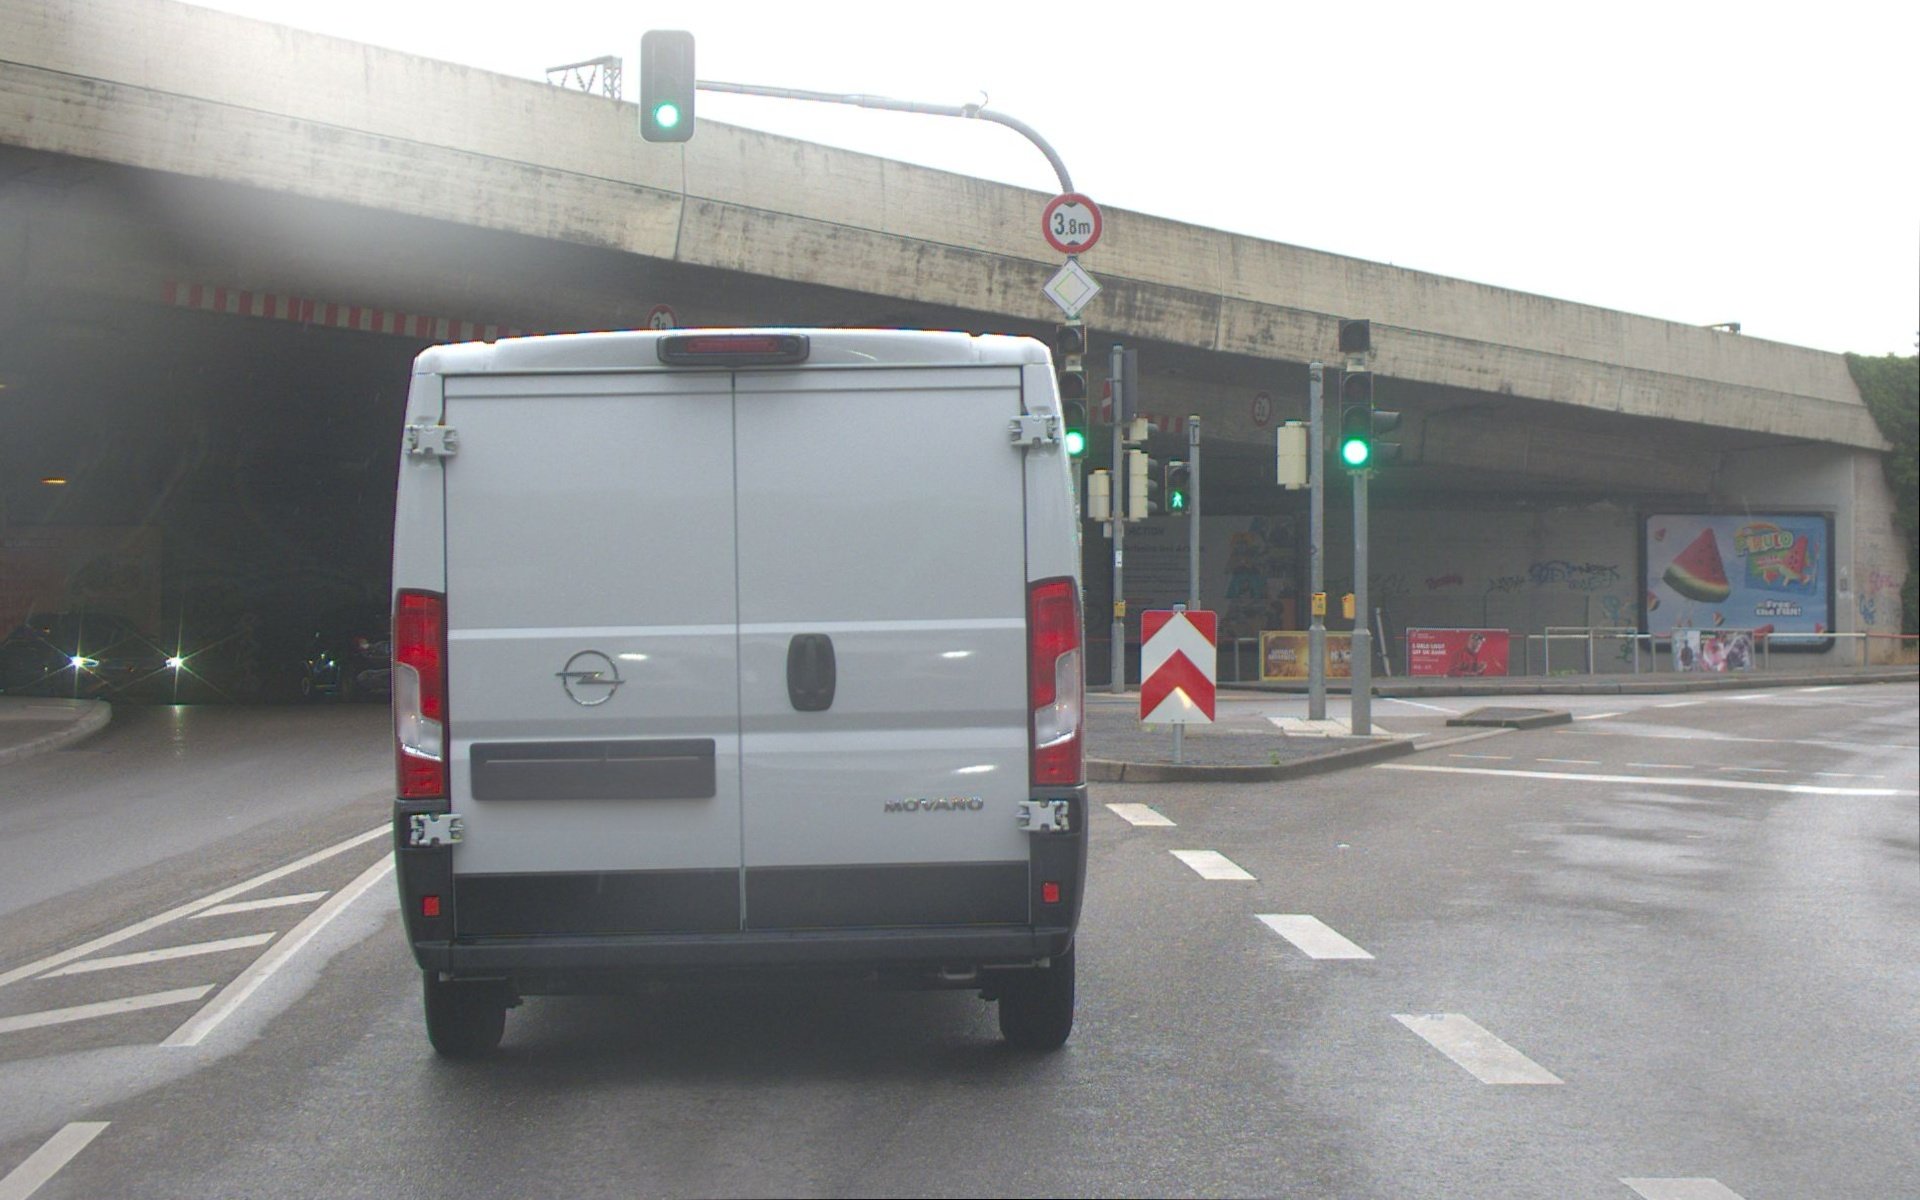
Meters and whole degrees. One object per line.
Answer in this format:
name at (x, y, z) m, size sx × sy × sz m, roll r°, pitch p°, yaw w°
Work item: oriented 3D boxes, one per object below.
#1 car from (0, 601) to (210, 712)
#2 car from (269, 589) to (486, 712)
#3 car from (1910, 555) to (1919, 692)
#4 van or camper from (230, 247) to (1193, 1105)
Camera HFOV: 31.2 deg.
car at (-13.136, 0.824, 52.090) m, size 1.993 × 1.525 × 4.500 m, roll 1°, pitch 1°, yaw -33°
car at (-8.809, 0.715, 51.746) m, size 1.993 × 1.744 × 4.000 m, roll 0°, pitch 0°, yaw -29°
car at (12.419, 0.264, 39.677) m, size 1.878 × 1.525 × 3.993 m, roll 1°, pitch 0°, yaw 29°
van or camper at (-0.810, 0.204, 12.156) m, size 2.698 × 2.408 × 4.904 m, roll 0°, pitch 0°, yaw -3°
